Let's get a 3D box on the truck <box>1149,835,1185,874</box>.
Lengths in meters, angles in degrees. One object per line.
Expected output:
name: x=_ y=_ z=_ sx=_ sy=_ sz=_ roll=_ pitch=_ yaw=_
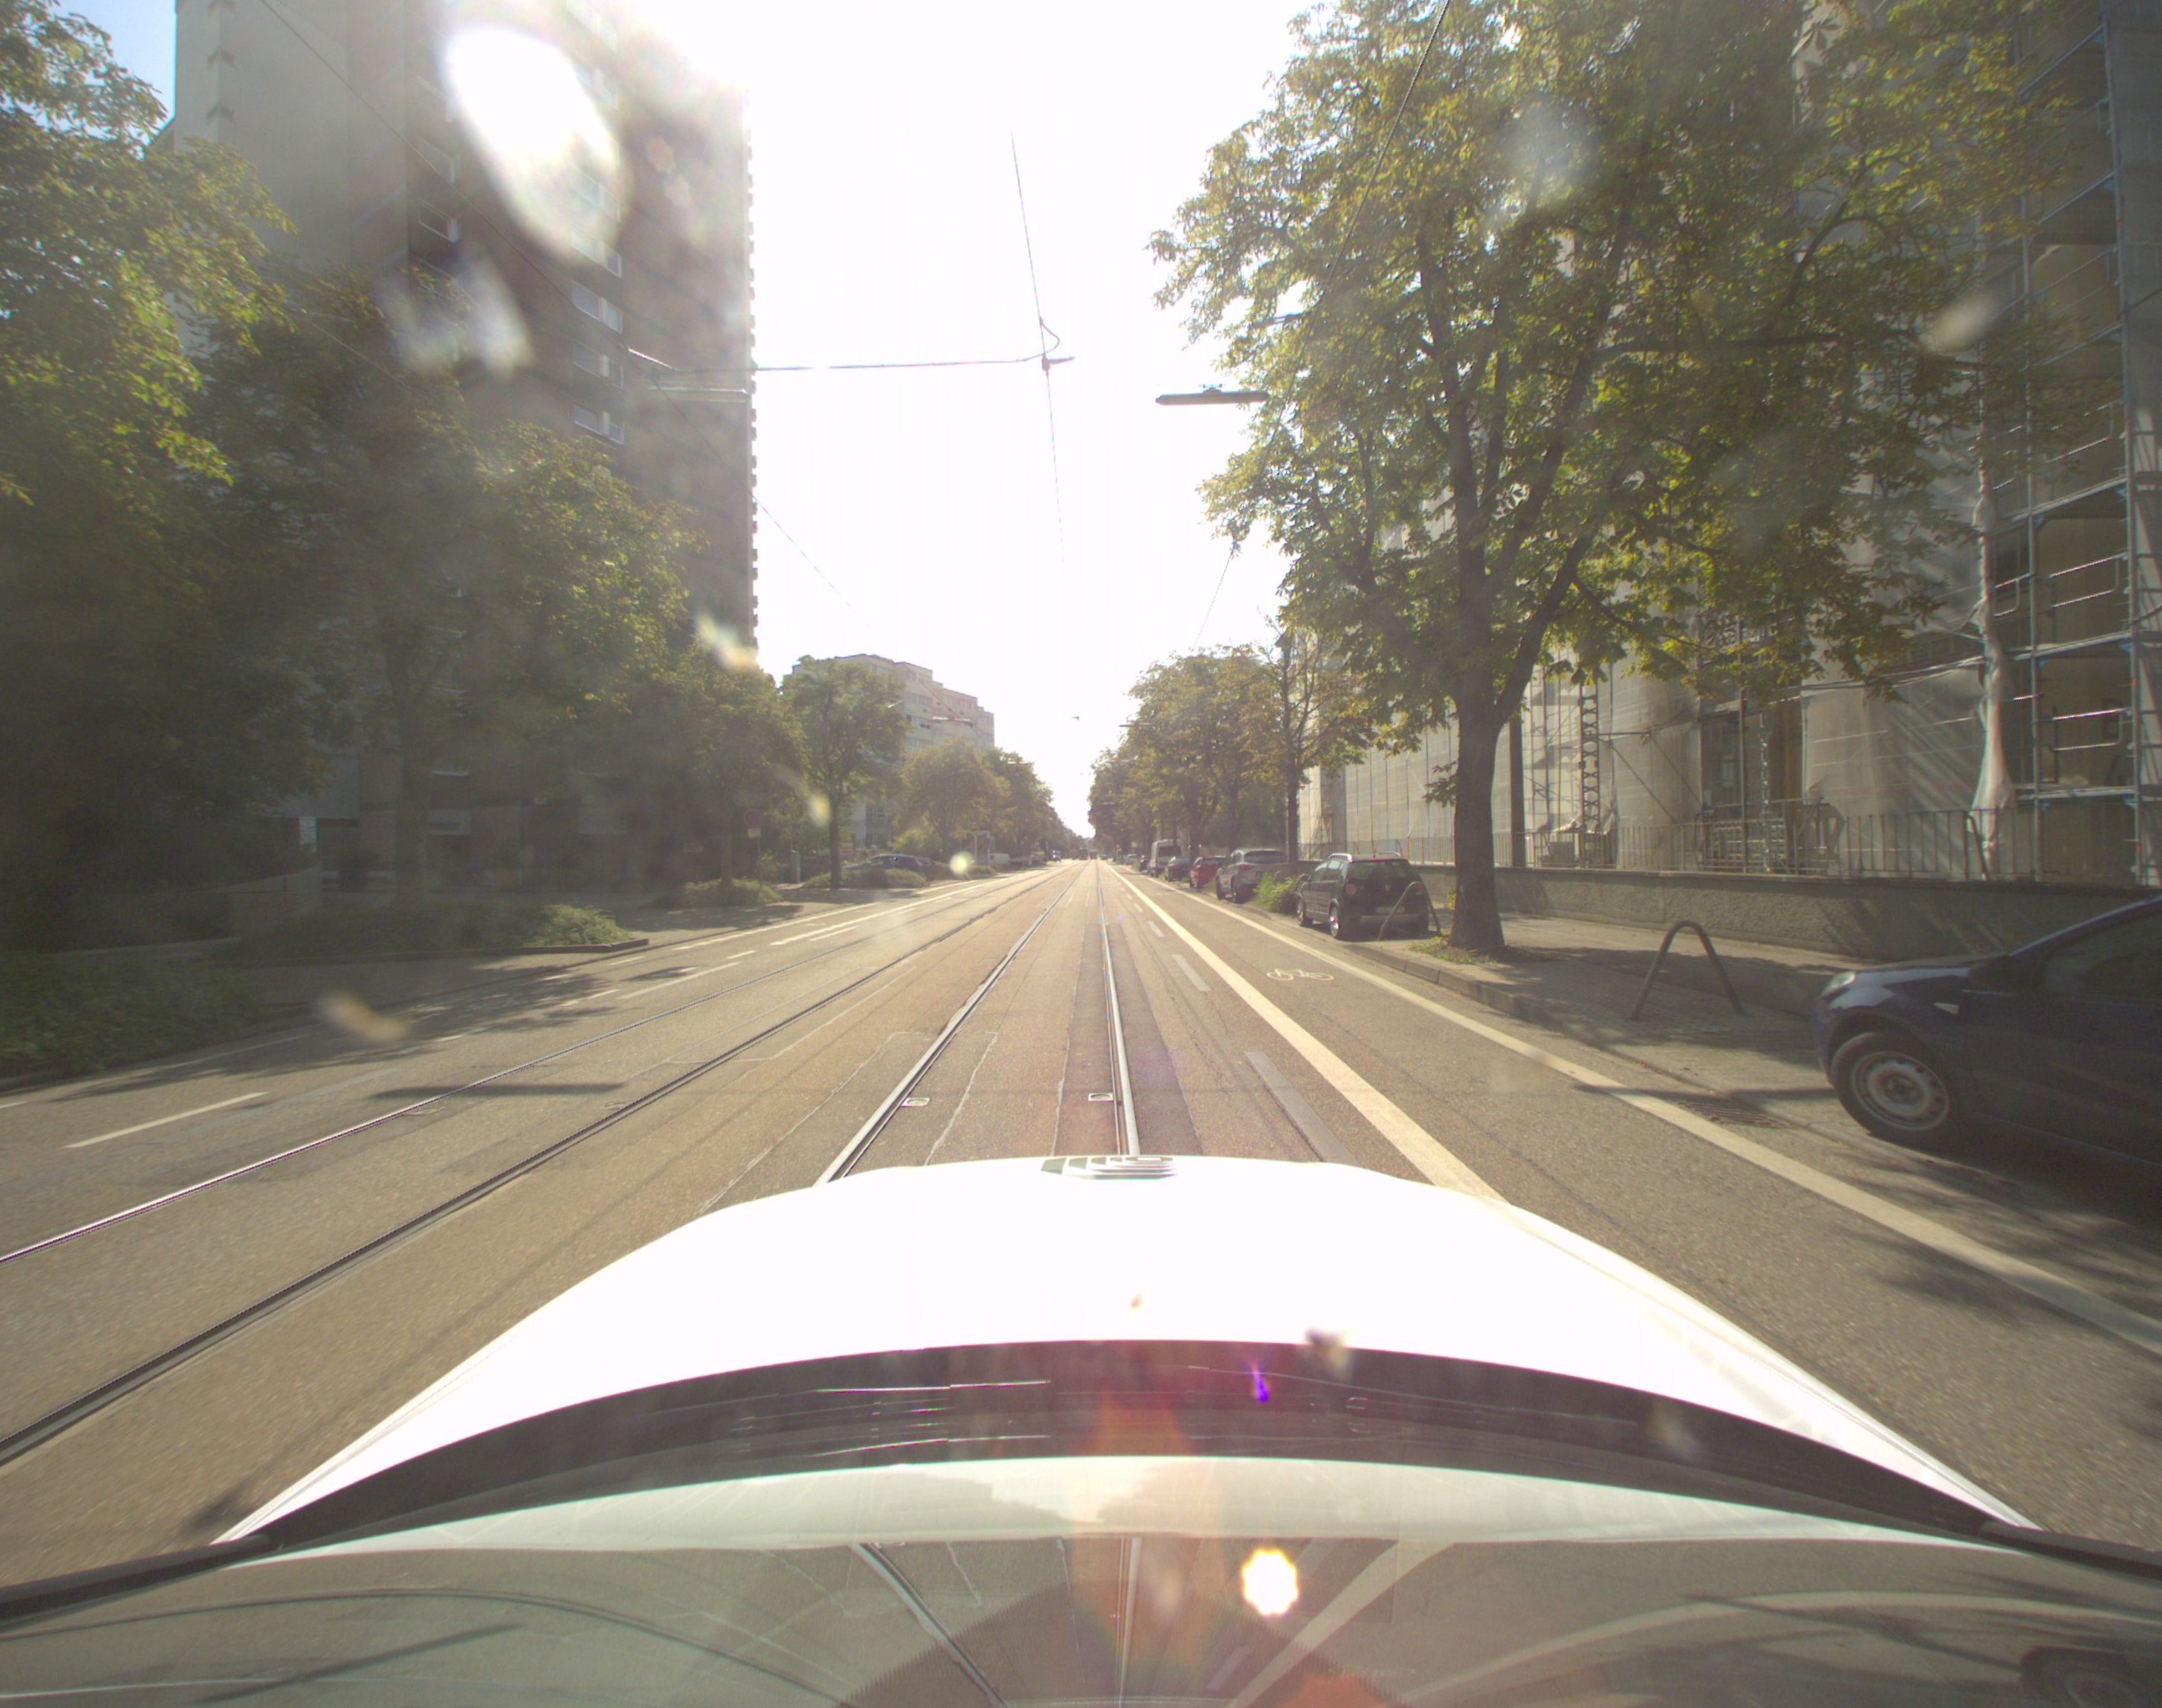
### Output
truck: x=5.956 y=0.040 z=57.217 sx=1.911 sy=2.599 sz=5.591 roll=-1 pitch=0 yaw=0

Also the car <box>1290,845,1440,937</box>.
car: x=5.421 y=0.636 z=16.099 sx=1.679 sy=1.570 sz=4.002 roll=-1 pitch=0 yaw=2

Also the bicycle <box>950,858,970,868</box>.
bicycle: x=-14.962 y=1.102 z=100.539 sx=2.319 sy=1.169 sz=0.625 roll=1 pitch=-1 yaw=18

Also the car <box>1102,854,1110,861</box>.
car: x=6.738 y=0.860 z=218.368 sx=1.986 sy=1.801 sz=4.001 roll=0 pitch=0 yaw=1

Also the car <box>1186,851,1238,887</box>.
car: x=5.839 y=0.658 z=36.668 sx=1.679 sy=1.500 sz=4.132 roll=-1 pitch=0 yaw=1

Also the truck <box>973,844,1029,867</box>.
truck: x=-8.936 y=0.181 z=90.928 sx=5.998 sy=2.434 sz=2.126 roll=-1 pitch=0 yaw=-38

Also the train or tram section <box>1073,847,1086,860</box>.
train or tram section: x=-0.290 y=-0.173 z=244.300 sx=3.483 sy=3.704 sz=12.418 roll=0 pitch=0 yaw=2

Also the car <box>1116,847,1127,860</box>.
car: x=7.547 y=-0.022 z=151.460 sx=1.986 sy=2.365 sz=4.001 roll=0 pitch=0 yaw=1

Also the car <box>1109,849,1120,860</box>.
car: x=7.369 y=0.098 z=178.319 sx=1.990 sy=2.233 sz=3.994 roll=-1 pitch=0 yaw=-4

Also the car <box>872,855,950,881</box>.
car: x=-10.160 y=0.818 z=48.712 sx=4.303 sy=1.497 sz=1.766 roll=-1 pitch=0 yaw=-26

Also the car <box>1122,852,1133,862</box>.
car: x=7.046 y=0.458 z=123.489 sx=1.635 sy=1.511 sz=3.642 roll=0 pitch=-1 yaw=1

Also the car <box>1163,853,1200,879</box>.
car: x=5.738 y=0.676 z=46.992 sx=1.679 sy=1.440 sz=4.805 roll=-1 pitch=0 yaw=1

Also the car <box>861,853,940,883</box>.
car: x=-10.022 y=0.776 z=45.267 sx=4.008 sy=1.570 sz=1.765 roll=-1 pitch=0 yaw=-26

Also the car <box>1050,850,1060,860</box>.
car: x=-6.417 y=0.366 z=201.300 sx=2.236 sy=2.441 sz=3.996 roll=0 pitch=0 yaw=-3

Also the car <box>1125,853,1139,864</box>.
car: x=6.863 y=0.561 z=109.919 sx=1.784 sy=1.446 sz=3.736 roll=-2 pitch=0 yaw=3

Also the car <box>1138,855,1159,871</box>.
car: x=6.312 y=0.828 z=76.531 sx=1.668 sy=1.458 sz=4.665 roll=-2 pitch=0 yaw=1

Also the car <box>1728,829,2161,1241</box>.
car: x=5.023 y=0.696 z=3.308 sx=1.634 sy=1.570 sz=4.086 roll=-2 pitch=1 yaw=2

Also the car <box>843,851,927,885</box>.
car: x=-10.190 y=0.697 z=42.307 sx=4.003 sy=1.648 sz=1.828 roll=-1 pitch=0 yaw=-23

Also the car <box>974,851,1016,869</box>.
car: x=-9.177 y=0.611 z=87.171 sx=4.309 sy=1.772 sz=1.803 roll=-1 pitch=0 yaw=-42

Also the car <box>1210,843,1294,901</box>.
car: x=5.415 y=0.526 z=26.335 sx=1.756 sy=1.688 sz=4.648 roll=-1 pitch=0 yaw=0
